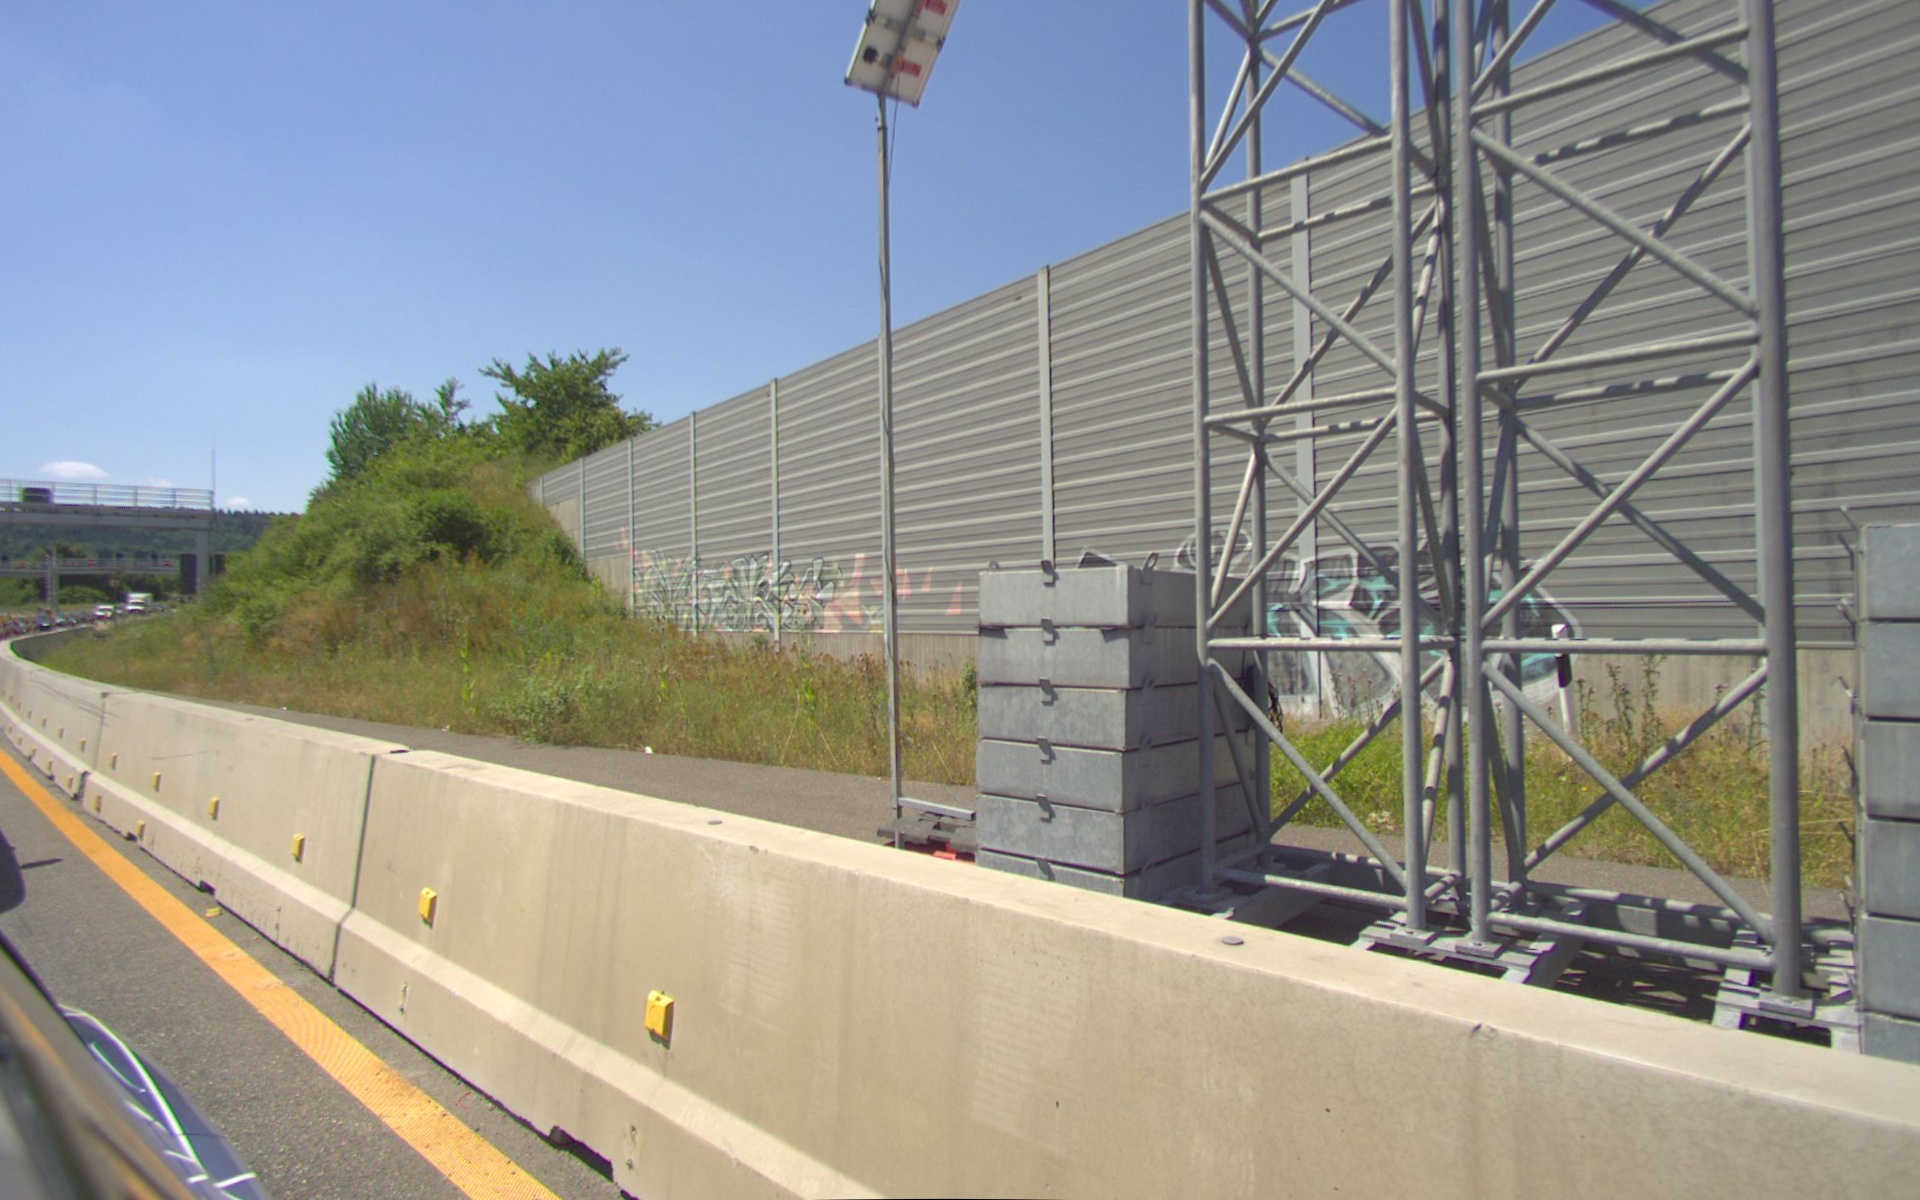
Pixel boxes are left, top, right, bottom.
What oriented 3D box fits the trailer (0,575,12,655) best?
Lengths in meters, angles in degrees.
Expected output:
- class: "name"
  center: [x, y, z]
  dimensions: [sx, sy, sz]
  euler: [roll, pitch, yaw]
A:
- class: "trailer"
  center: [-42.706, 0.617, 42.127]
  dimensions: [3.187, 3.695, 17.455]
  euler: [-2, 0, -38]
